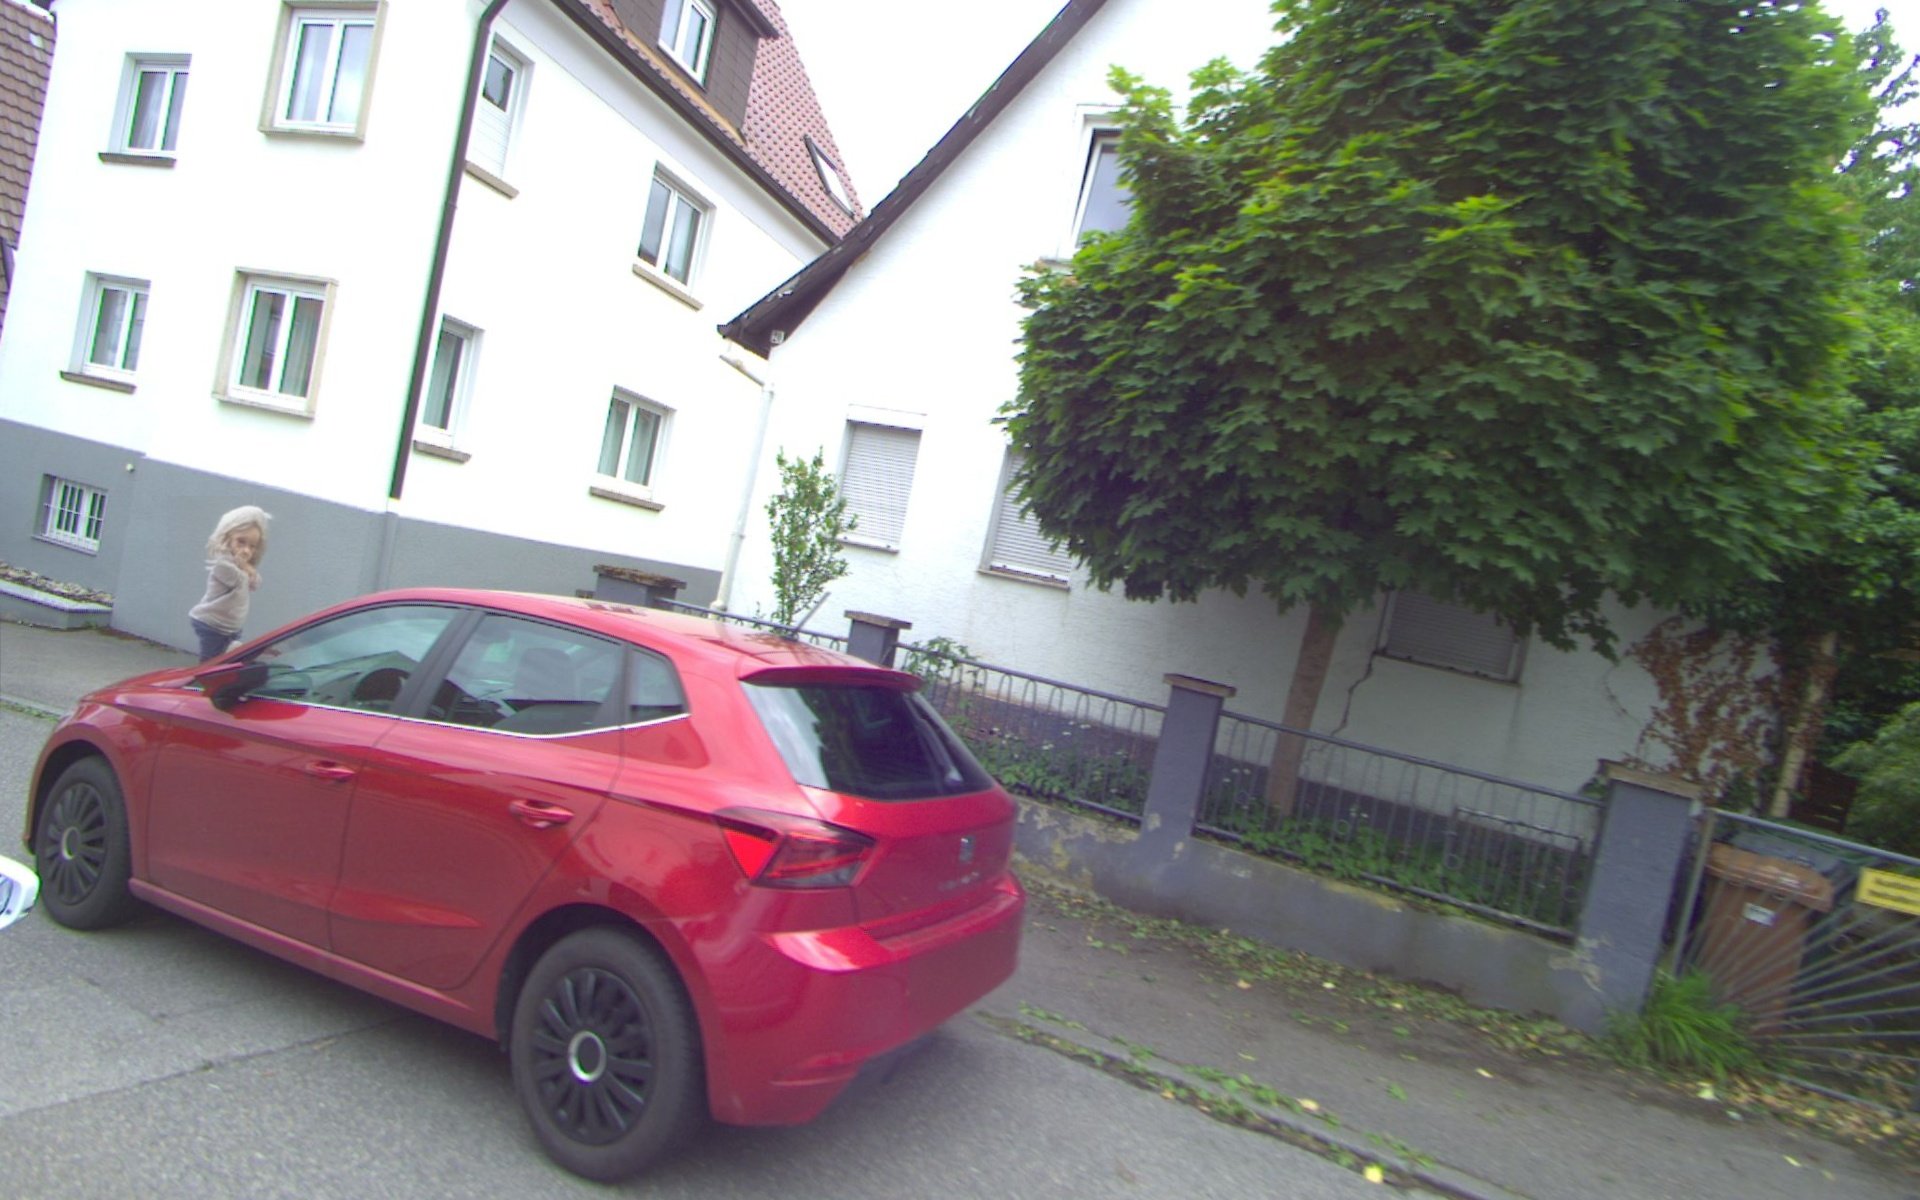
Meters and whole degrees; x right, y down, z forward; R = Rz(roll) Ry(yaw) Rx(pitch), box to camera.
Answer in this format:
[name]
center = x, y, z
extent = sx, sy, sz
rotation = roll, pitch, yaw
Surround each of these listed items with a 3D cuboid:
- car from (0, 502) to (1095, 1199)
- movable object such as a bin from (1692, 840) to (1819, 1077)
[car]
center = -1.632, 0.645, 3.803
extent = 3.783, 1.468, 1.685
rotation = 7, -3, 25
[movable object such as a bin]
center = 3.798, 1.690, 4.824
extent = 0.369, 0.961, 0.372
rotation = 7, 0, 37
